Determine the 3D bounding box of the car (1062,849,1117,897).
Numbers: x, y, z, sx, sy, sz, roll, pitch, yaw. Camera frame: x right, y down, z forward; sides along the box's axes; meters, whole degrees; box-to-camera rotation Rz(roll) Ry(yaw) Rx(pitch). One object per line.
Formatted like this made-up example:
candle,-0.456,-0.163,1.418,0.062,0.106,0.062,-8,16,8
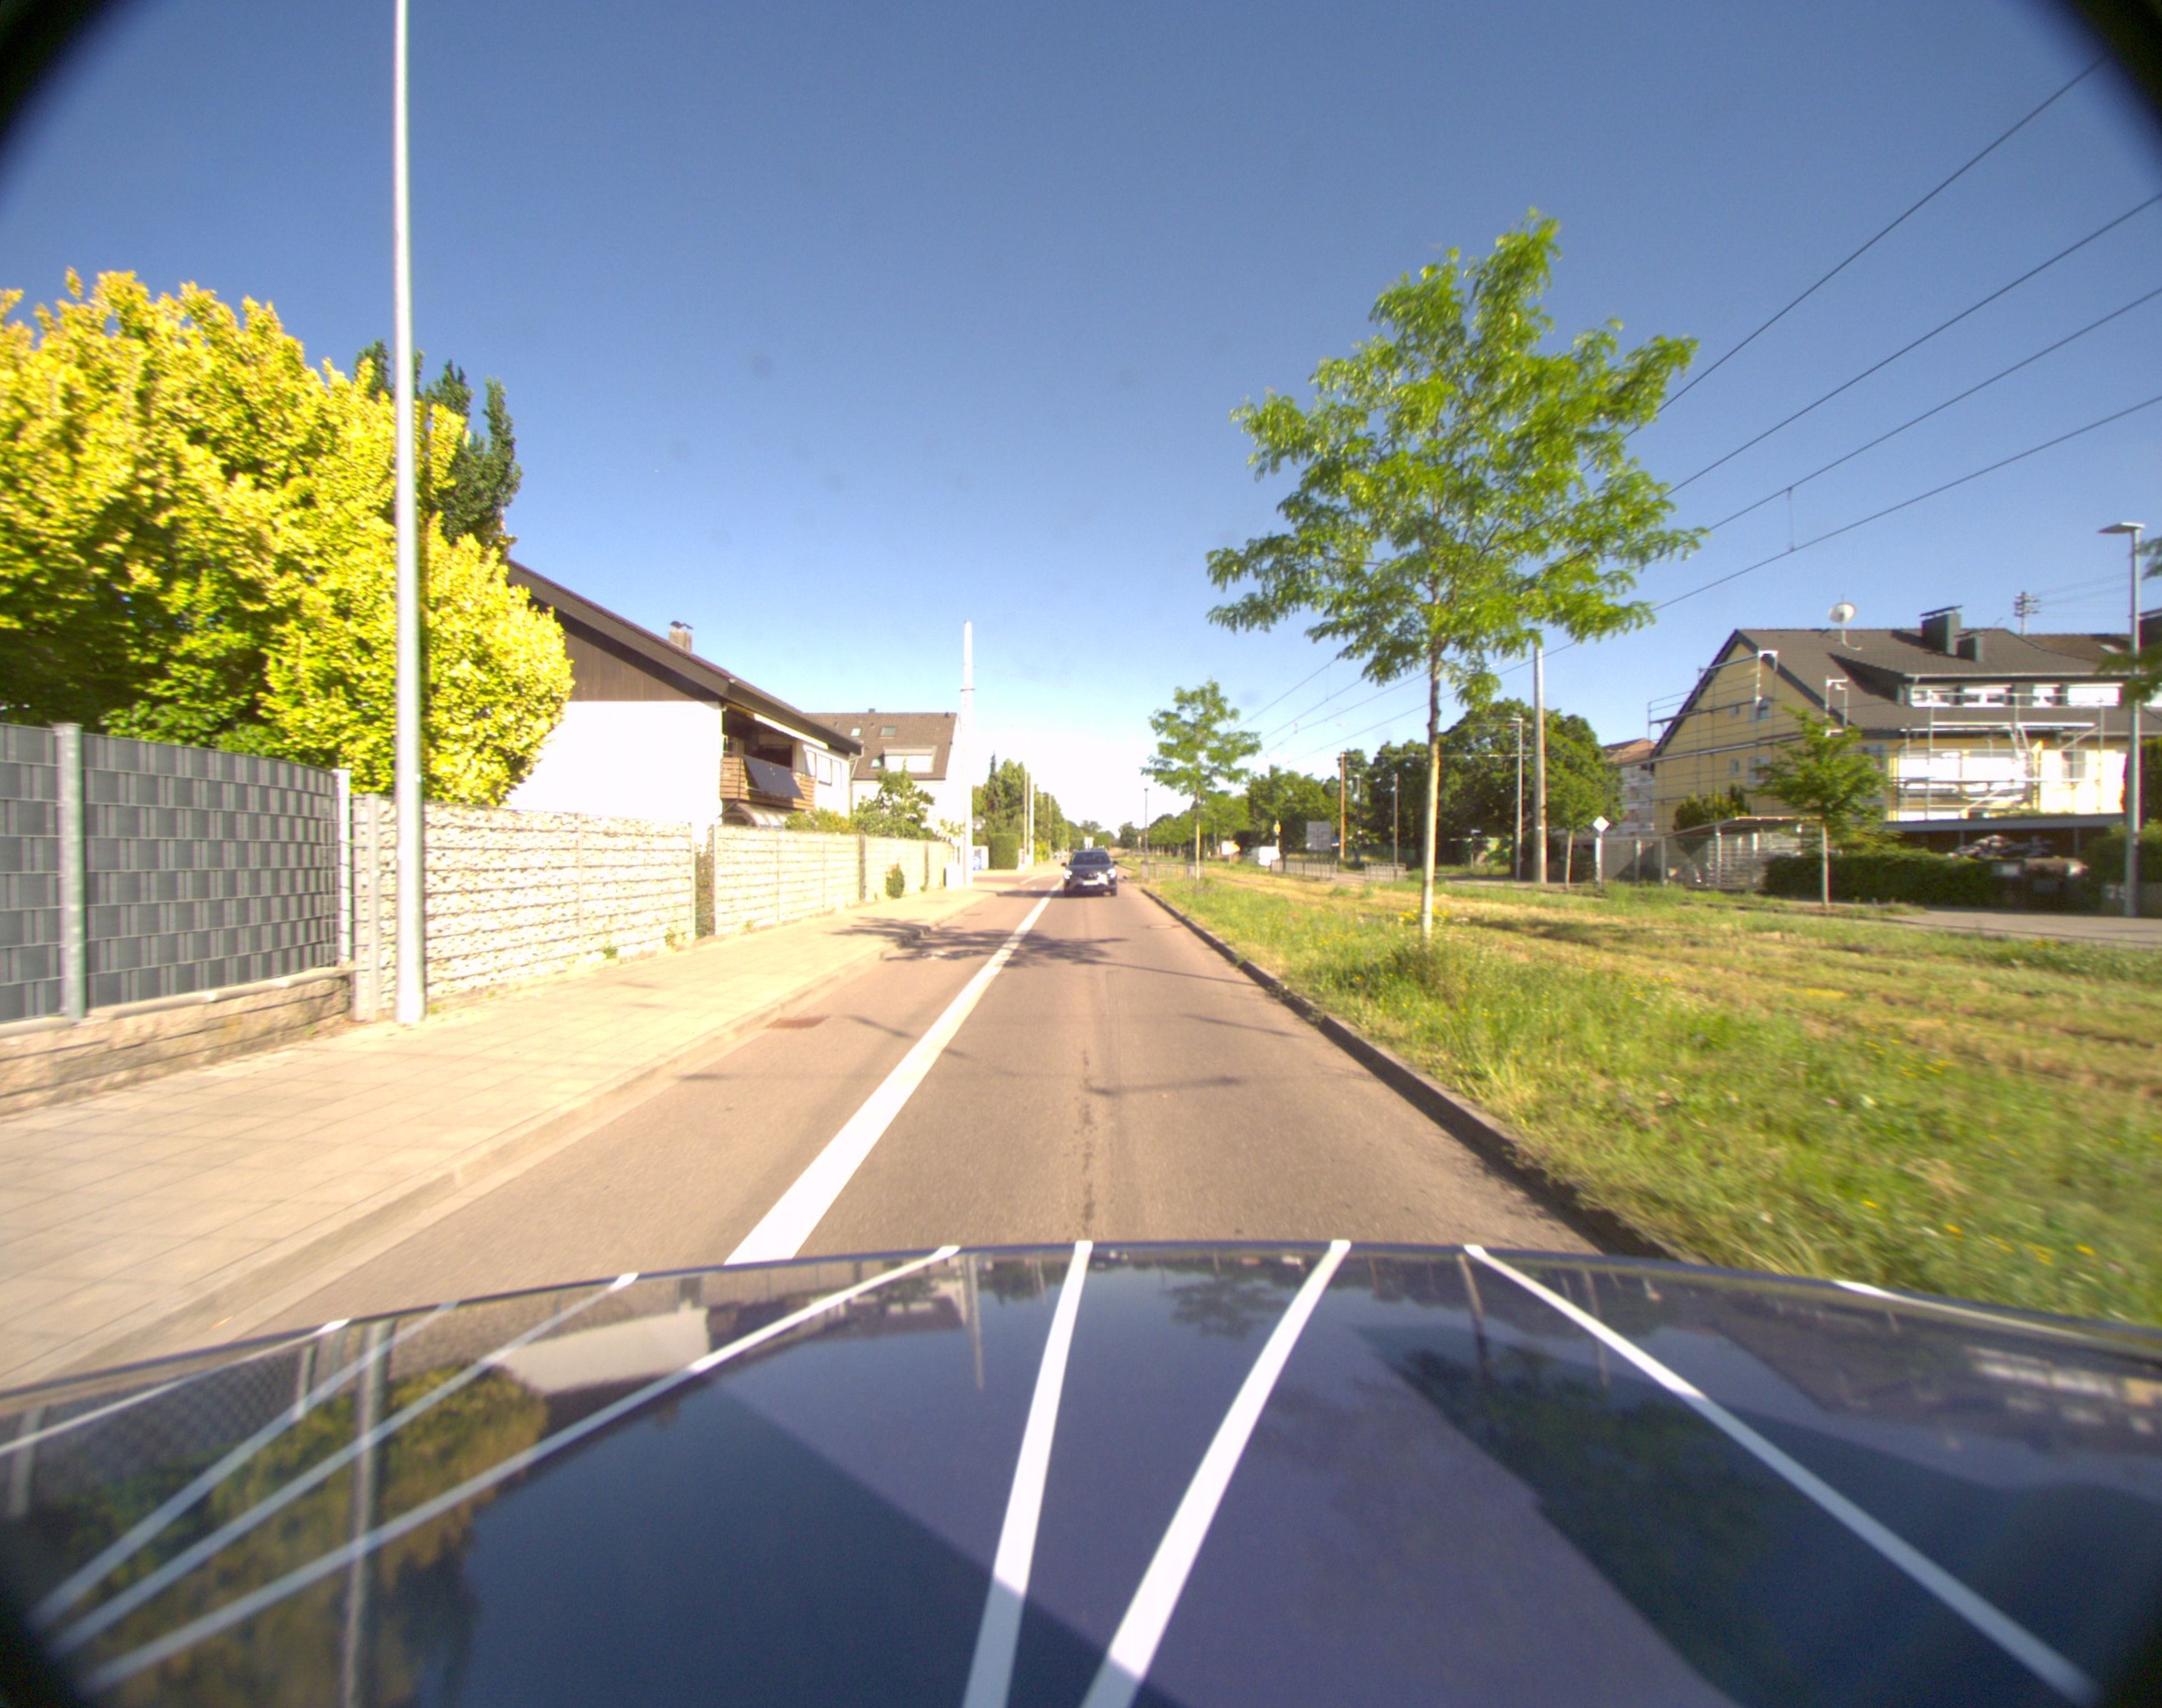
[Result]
car,0.252,0.635,28.120,1.867,1.614,3.999,-1,1,-1

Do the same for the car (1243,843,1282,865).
car,16.150,-0.029,67.764,1.903,1.903,4.698,0,1,-7

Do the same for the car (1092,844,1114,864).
car,2.133,0.004,74.487,1.998,1.824,3.999,-1,1,1

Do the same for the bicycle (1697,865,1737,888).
bicycle,24.767,0.867,29.632,0.311,0.817,1.509,-1,1,1

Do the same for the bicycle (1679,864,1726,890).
bicycle,24.075,0.878,29.466,0.424,0.937,1.748,-1,1,1

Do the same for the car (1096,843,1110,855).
car,3.323,-0.766,113.125,1.998,1.824,3.999,-1,1,1
